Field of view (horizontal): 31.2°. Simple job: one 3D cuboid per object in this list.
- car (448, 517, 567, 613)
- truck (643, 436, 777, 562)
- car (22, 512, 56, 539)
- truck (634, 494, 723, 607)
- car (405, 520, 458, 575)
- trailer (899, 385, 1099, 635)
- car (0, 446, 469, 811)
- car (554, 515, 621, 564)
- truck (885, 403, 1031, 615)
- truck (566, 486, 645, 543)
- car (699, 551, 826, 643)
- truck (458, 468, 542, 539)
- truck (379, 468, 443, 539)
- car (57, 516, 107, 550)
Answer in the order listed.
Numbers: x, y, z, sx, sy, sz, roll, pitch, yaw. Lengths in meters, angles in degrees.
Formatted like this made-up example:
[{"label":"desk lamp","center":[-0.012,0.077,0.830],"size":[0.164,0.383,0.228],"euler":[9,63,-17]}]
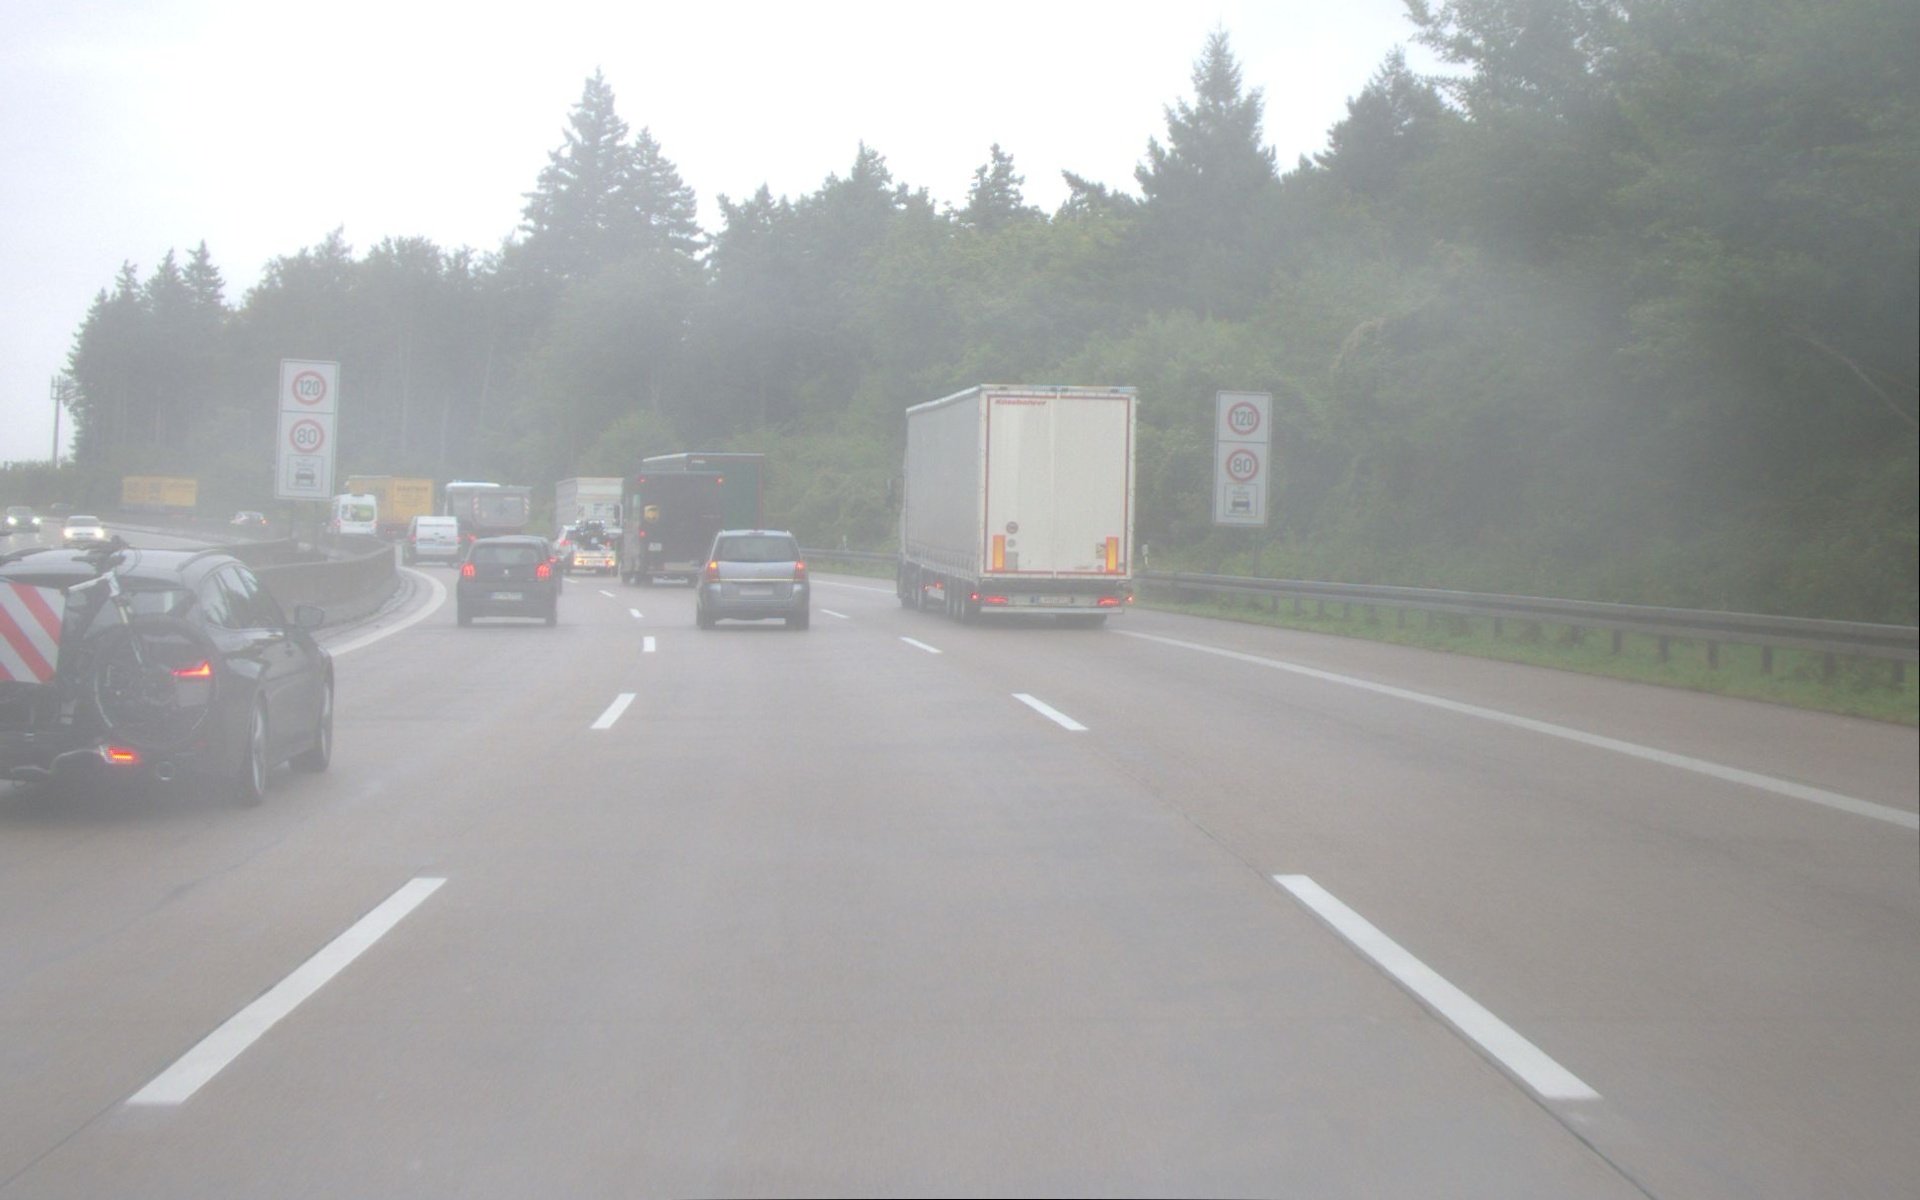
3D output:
[{"label":"car","center":[-7.431,-0.601,56.733],"size":[1.683,1.457,3.684],"euler":[2,1,-4]},{"label":"truck","center":[-8.692,-3.468,118.255],"size":[3.368,4.117,10.441],"euler":[0,1,-11]},{"label":"car","center":[-54.804,-4.436,204.646],"size":[1.776,1.633,4.001],"euler":[0,1,-12]},{"label":"truck","center":[-7.831,-1.422,94.968],"size":[2.269,2.877,7.905],"euler":[1,2,-6]},{"label":"car","center":[-19.459,-1.929,126.728],"size":[1.725,2.007,3.657],"euler":[0,1,-6]},{"label":"trailer","center":[0.529,-1.628,62.032],"size":[2.419,4.054,12.057],"euler":[1,1,-5]},{"label":"car","center":[-4.419,0.086,21.350],"size":[1.907,1.938,6.163],"euler":[0,1,0]},{"label":"car","center":[-11.934,-1.964,110.406],"size":[1.881,1.468,4.001],"euler":[2,1,-3]},{"label":"truck","center":[-0.093,-1.823,68.930],"size":[2.419,4.054,4.979],"euler":[0,1,-6]},{"label":"truck","center":[-15.551,-3.754,150.502],"size":[2.973,2.301,6.669],"euler":[2,1,-9]},{"label":"car","center":[-3.176,-0.075,55.863],"size":[1.554,1.347,3.683],"euler":[2,1,4]},{"label":"truck","center":[-19.936,-4.209,148.756],"size":[3.081,2.895,7.906],"euler":[0,2,-11]},{"label":"truck","center":[-33.033,-5.769,206.874],"size":[3.739,4.195,6.820],"euler":[0,1,-9]},{"label":"car","center":[-39.511,-3.009,154.790],"size":[1.776,1.513,4.001],"euler":[0,1,-9]}]
